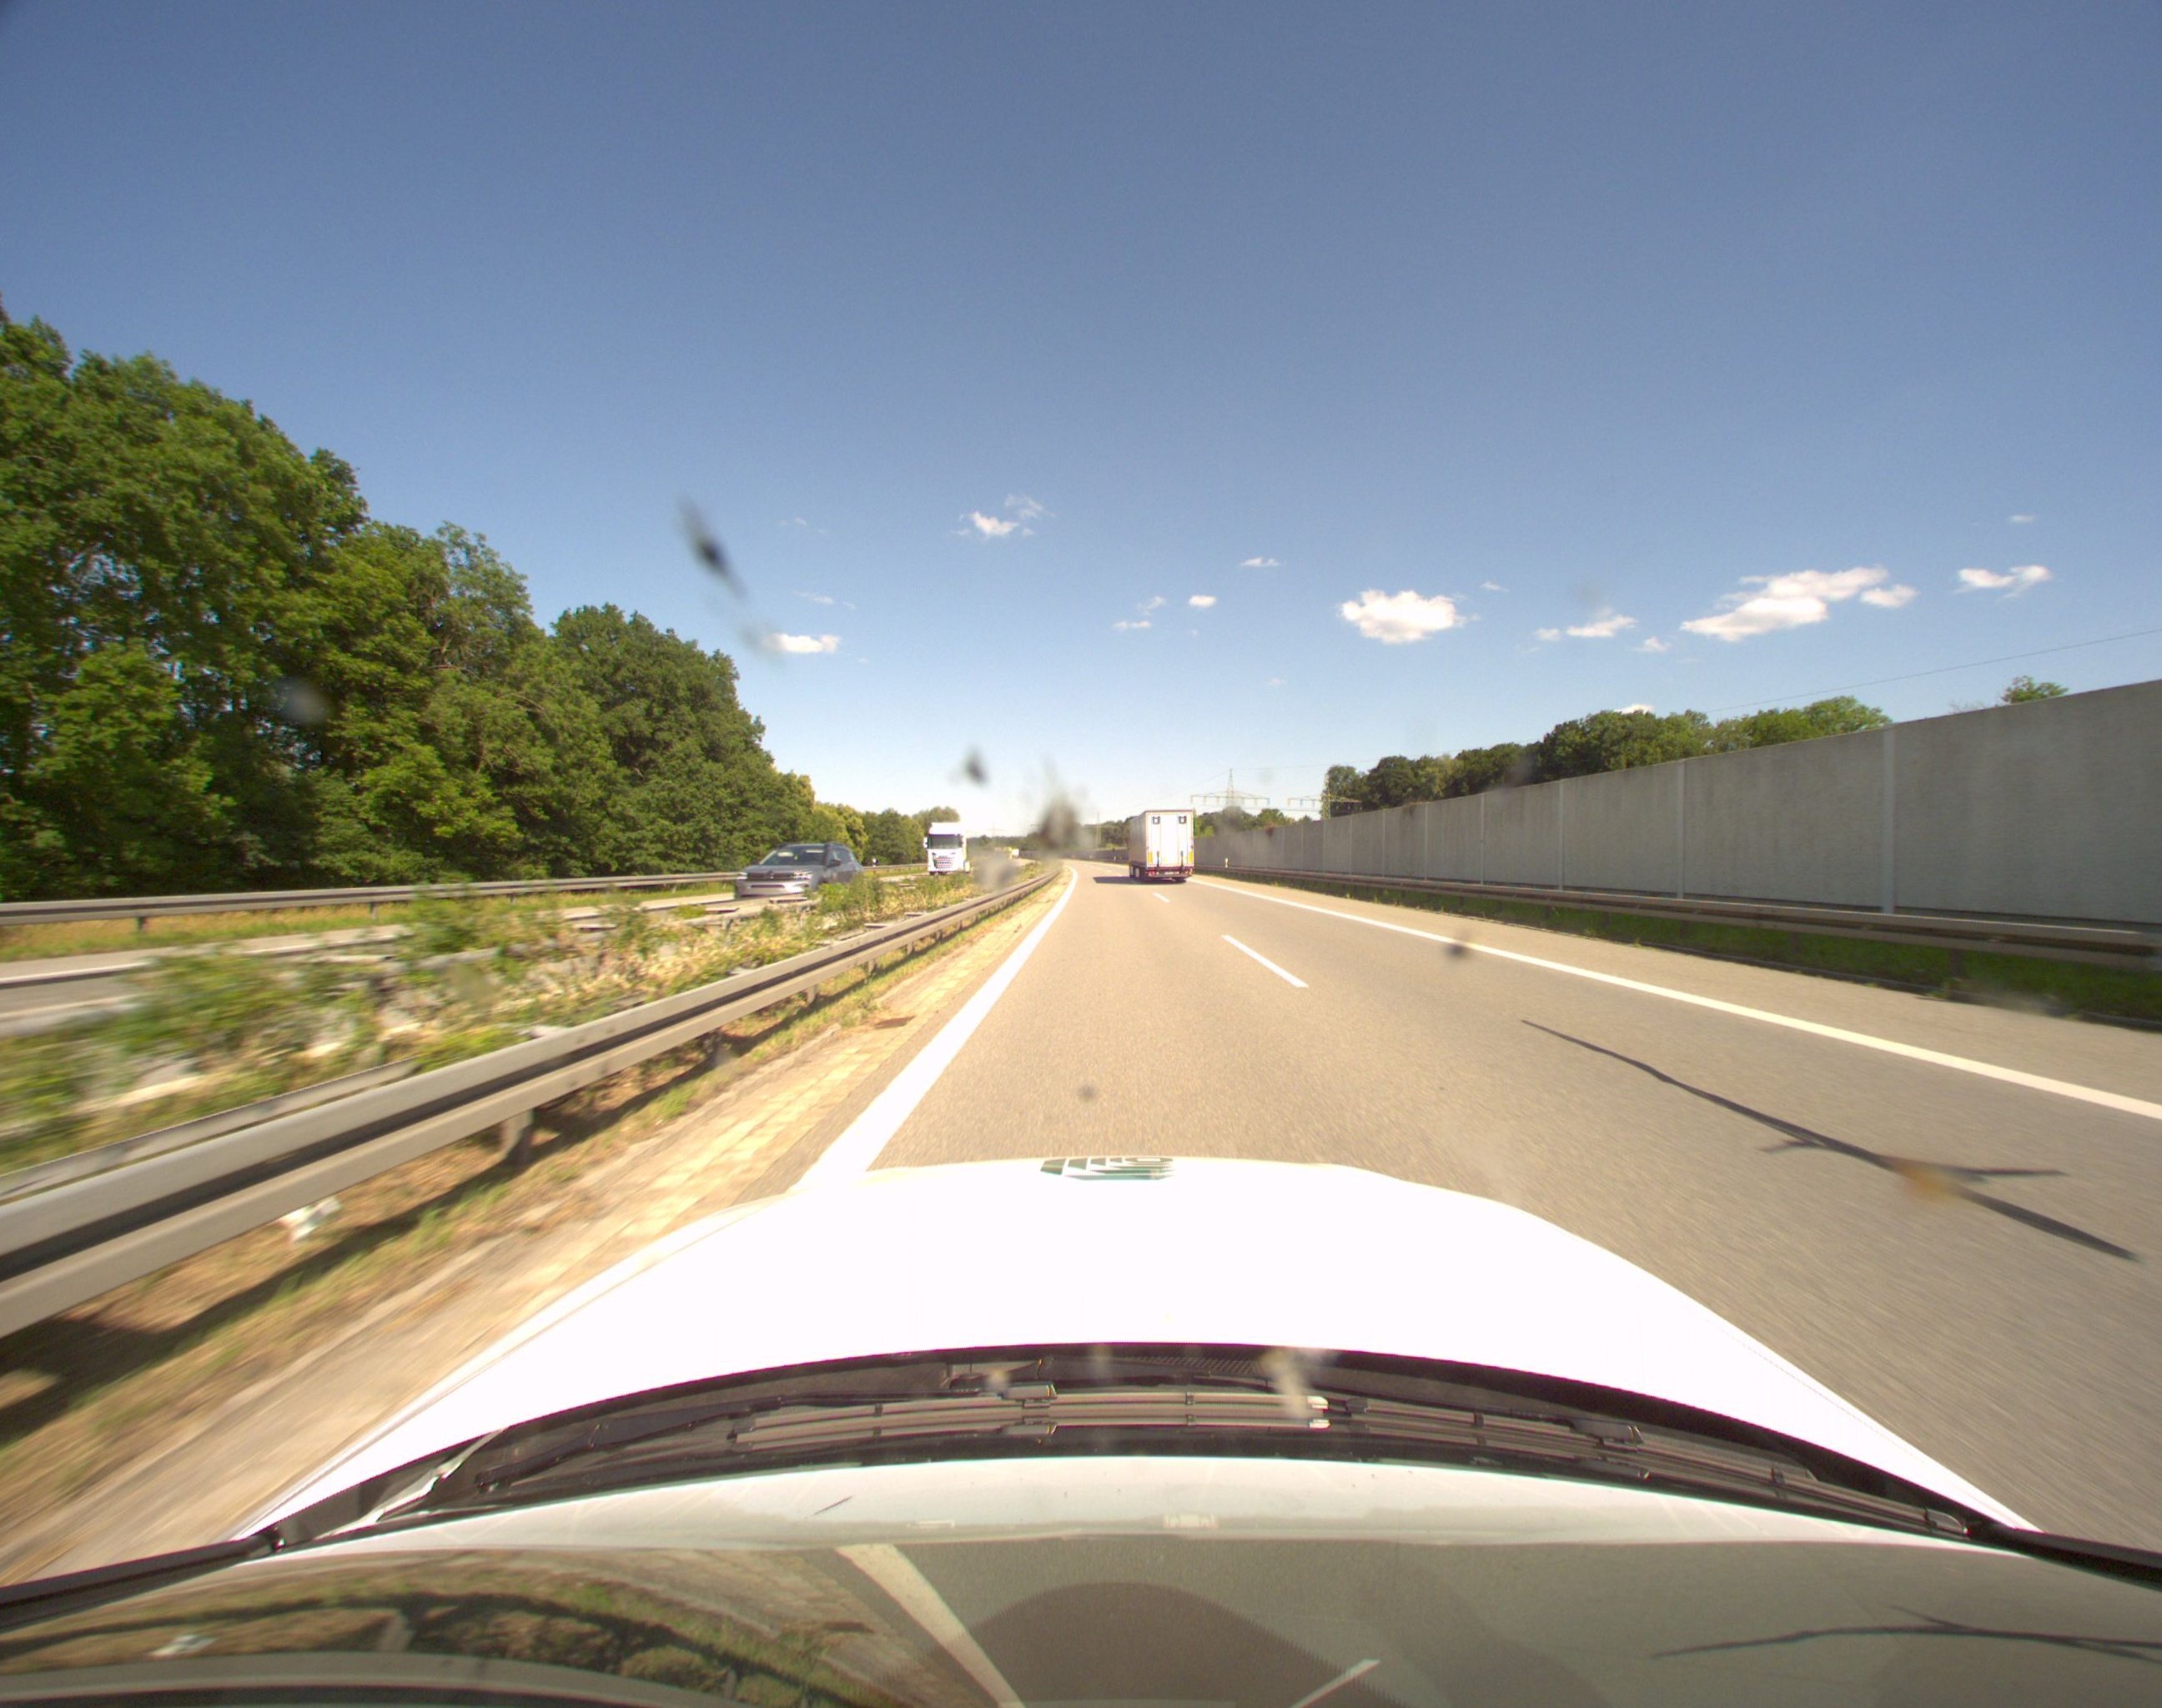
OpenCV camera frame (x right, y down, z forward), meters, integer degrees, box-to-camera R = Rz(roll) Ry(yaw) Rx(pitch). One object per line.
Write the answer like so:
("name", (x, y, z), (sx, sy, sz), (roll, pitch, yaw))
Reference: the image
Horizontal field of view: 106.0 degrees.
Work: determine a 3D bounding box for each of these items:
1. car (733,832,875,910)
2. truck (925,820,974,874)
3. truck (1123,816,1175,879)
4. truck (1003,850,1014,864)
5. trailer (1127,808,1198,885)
("car", (-6.345, 0.375, 19.158), (1.835, 1.606, 4.001), (-1, 0, 2))
("truck", (-9.821, -0.489, 61.544), (2.617, 3.839, 6.806), (-1, 0, -1))
("truck", (4.583, -0.382, 56.044), (2.822, 4.012, 6.584), (-1, -1, -1))
("truck", (-22.014, 0.909, 247.229), (2.757, 3.907, 8.746), (-1, 0, -8))
("trailer", (4.687, -0.330, 49.663), (2.876, 4.066, 12.414), (-1, -1, -1))
